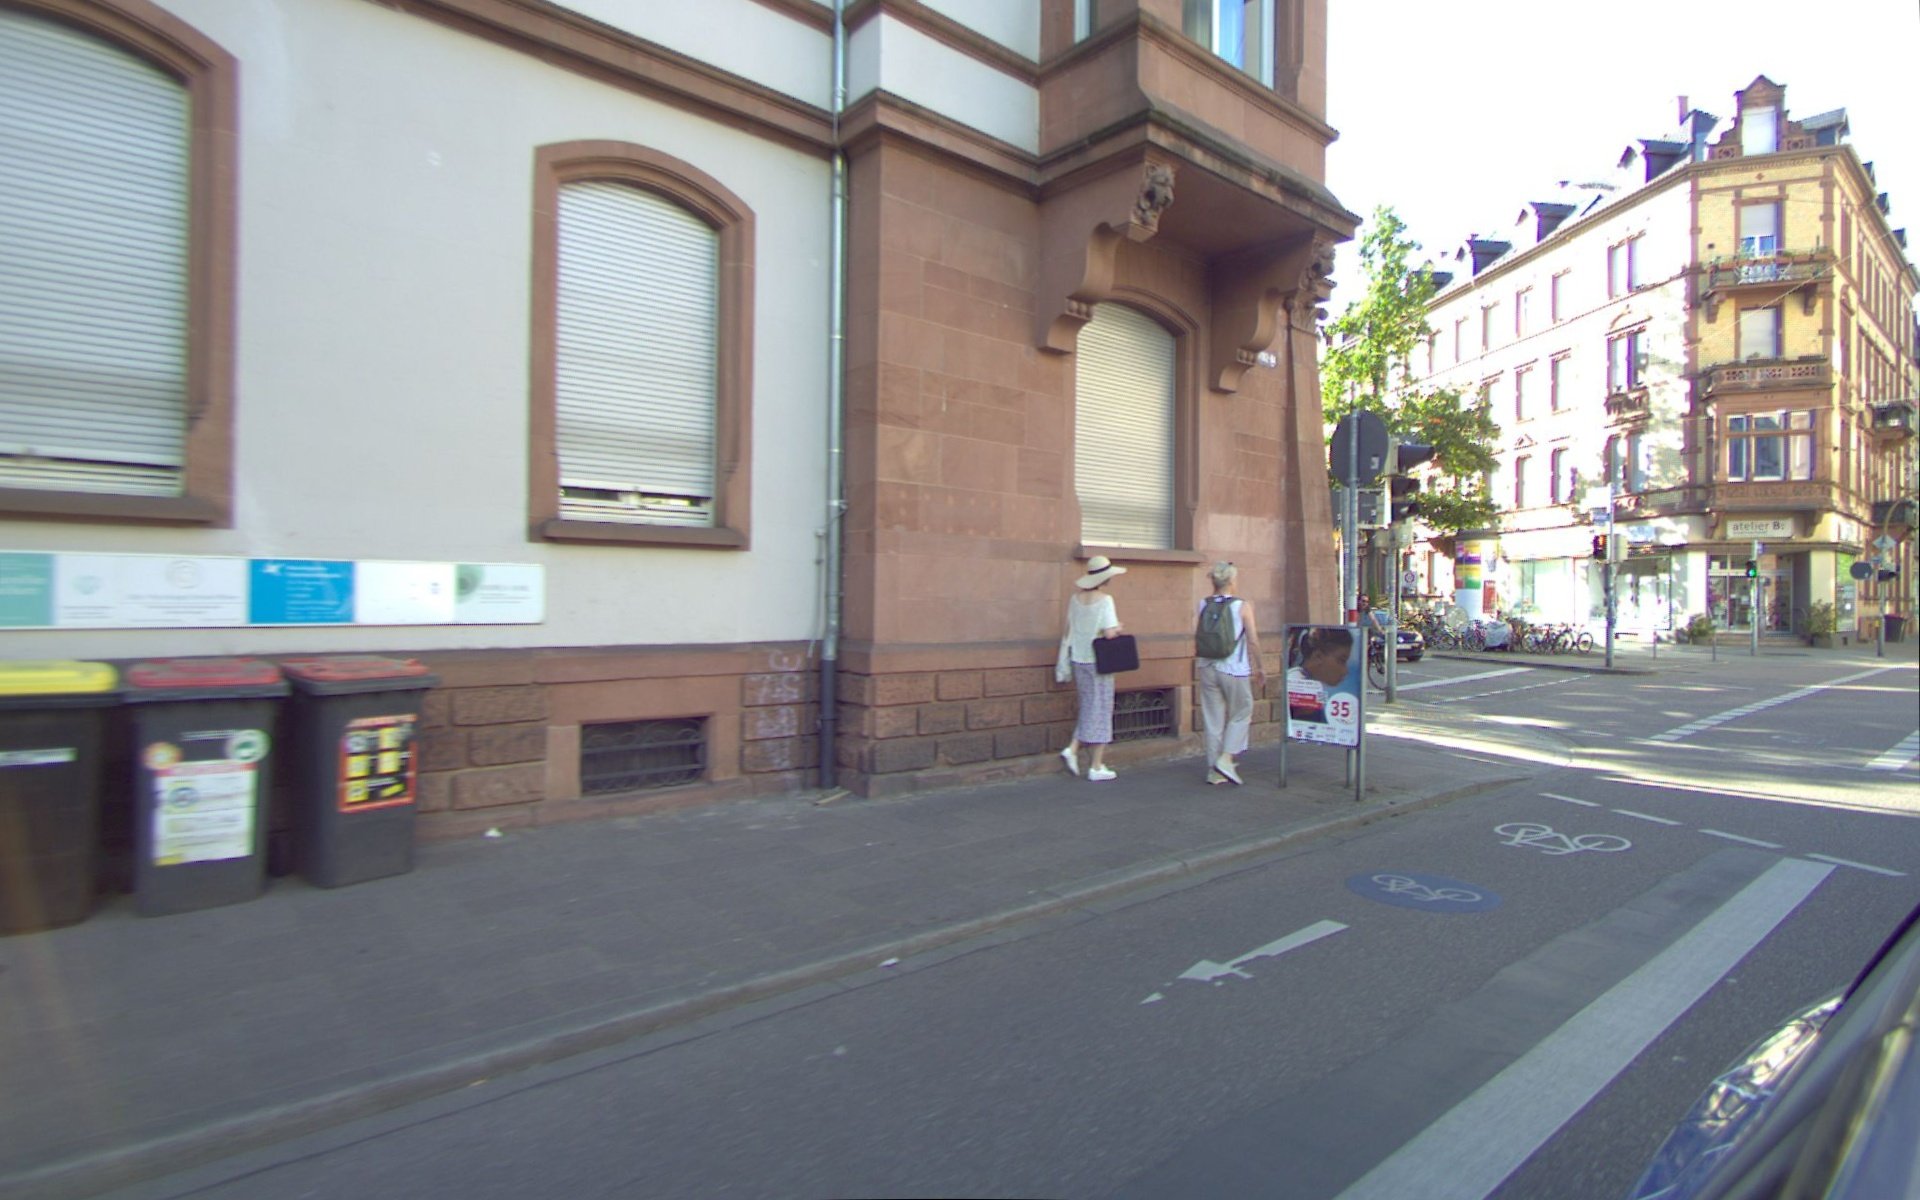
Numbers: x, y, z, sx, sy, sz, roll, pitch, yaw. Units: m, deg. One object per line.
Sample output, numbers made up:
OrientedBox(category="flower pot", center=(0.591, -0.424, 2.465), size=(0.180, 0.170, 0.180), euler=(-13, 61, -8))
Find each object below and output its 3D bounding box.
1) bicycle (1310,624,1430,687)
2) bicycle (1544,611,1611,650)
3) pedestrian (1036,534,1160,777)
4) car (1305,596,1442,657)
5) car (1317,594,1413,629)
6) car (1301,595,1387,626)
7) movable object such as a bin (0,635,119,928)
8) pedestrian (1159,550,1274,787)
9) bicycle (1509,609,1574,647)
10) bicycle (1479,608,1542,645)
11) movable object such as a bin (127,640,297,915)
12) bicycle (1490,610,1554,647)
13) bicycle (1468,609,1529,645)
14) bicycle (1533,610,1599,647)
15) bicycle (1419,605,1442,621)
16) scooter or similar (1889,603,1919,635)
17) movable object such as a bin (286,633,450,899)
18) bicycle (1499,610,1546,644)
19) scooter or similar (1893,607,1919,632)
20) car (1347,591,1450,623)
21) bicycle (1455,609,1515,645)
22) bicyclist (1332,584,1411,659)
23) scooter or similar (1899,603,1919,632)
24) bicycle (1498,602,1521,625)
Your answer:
OrientedBox(category="bicycle", center=(7.741, 1.016, 19.239), size=(0.830, 1.058, 2.100), euler=(0, 0, -26))
OrientedBox(category="bicycle", center=(19.877, 0.956, 32.570), size=(2.076, 1.157, 0.619), euler=(-1, 0, -18))
OrientedBox(category="pedestrian", center=(1.090, 0.414, 7.994), size=(0.661, 1.805, 0.706), euler=(1, -1, -42))
OrientedBox(category="car", center=(11.261, 0.669, 27.913), size=(1.809, 1.517, 4.253), euler=(-1, 0, -3))
OrientedBox(category="car", center=(19.304, 0.550, 48.303), size=(3.916, 1.621, 1.829), euler=(0, 0, -12))
OrientedBox(category="car", center=(20.027, 0.547, 52.797), size=(3.917, 1.544, 1.554), euler=(0, 0, -11))
OrientedBox(category="movable object such as a bin", center=(-3.895, 0.719, 4.229), size=(0.561, 1.090, 0.667), euler=(0, 1, -42))
OrientedBox(category="pedestrian", center=(1.980, 0.494, 7.809), size=(0.625, 1.722, 0.672), euler=(0, 0, 40))
OrientedBox(category="bicycle", center=(19.274, 0.923, 33.512), size=(2.076, 1.157, 0.619), euler=(-2, 1, -18))
OrientedBox(category="bicycle", center=(18.914, 0.903, 34.761), size=(2.076, 1.157, 0.619), euler=(-2, 1, -18))
OrientedBox(category="movable object such as a bin", center=(-3.429, 0.752, 4.629), size=(0.561, 1.090, 0.667), euler=(1, 1, -42))
OrientedBox(category="bicycle", center=(19.004, 0.945, 34.216), size=(2.076, 1.157, 0.619), euler=(-2, 1, -18))
OrientedBox(category="bicycle", center=(18.837, 0.923, 35.394), size=(2.076, 1.157, 0.619), euler=(-2, 1, -18))
OrientedBox(category="bicycle", center=(19.772, 0.922, 33.028), size=(2.075, 1.157, 0.619), euler=(-1, 0, -18))
OrientedBox(category="bicycle", center=(23.637, 0.654, 50.858), size=(0.389, 0.808, 1.347), euler=(0, 0, -5))
OrientedBox(category="scooter or similar", center=(36.857, 0.738, 39.370), size=(0.538, 1.162, 0.899), euler=(1, 5, -42))
OrientedBox(category="movable object such as a bin", center=(-2.939, 0.765, 5.019), size=(0.584, 1.168, 0.667), euler=(0, 0, -42))
OrientedBox(category="bicycle", center=(20.536, 0.970, 36.918), size=(1.583, 1.157, 0.545), euler=(-2, 1, -18))
OrientedBox(category="scooter or similar", center=(38.373, 0.784, 40.968), size=(0.669, 0.969, 0.792), euler=(0, 4, -42))
OrientedBox(category="car", center=(19.797, 0.330, 45.759), size=(3.917, 1.388, 1.829), euler=(0, 0, -11))
OrientedBox(category="bicycle", center=(18.666, 0.940, 35.968), size=(2.076, 1.157, 0.619), euler=(-2, 1, -18))
OrientedBox(category="bicyclist", center=(7.791, 0.391, 19.192), size=(0.821, 1.360, 1.137), euler=(1, 0, -27))
OrientedBox(category="scooter or similar", center=(39.313, 0.728, 41.669), size=(0.776, 1.162, 0.792), euler=(0, 4, -42))
OrientedBox(category="bicycle", center=(24.106, 0.587, 44.441), size=(0.389, 1.017, 1.000), euler=(0, 0, -5))
